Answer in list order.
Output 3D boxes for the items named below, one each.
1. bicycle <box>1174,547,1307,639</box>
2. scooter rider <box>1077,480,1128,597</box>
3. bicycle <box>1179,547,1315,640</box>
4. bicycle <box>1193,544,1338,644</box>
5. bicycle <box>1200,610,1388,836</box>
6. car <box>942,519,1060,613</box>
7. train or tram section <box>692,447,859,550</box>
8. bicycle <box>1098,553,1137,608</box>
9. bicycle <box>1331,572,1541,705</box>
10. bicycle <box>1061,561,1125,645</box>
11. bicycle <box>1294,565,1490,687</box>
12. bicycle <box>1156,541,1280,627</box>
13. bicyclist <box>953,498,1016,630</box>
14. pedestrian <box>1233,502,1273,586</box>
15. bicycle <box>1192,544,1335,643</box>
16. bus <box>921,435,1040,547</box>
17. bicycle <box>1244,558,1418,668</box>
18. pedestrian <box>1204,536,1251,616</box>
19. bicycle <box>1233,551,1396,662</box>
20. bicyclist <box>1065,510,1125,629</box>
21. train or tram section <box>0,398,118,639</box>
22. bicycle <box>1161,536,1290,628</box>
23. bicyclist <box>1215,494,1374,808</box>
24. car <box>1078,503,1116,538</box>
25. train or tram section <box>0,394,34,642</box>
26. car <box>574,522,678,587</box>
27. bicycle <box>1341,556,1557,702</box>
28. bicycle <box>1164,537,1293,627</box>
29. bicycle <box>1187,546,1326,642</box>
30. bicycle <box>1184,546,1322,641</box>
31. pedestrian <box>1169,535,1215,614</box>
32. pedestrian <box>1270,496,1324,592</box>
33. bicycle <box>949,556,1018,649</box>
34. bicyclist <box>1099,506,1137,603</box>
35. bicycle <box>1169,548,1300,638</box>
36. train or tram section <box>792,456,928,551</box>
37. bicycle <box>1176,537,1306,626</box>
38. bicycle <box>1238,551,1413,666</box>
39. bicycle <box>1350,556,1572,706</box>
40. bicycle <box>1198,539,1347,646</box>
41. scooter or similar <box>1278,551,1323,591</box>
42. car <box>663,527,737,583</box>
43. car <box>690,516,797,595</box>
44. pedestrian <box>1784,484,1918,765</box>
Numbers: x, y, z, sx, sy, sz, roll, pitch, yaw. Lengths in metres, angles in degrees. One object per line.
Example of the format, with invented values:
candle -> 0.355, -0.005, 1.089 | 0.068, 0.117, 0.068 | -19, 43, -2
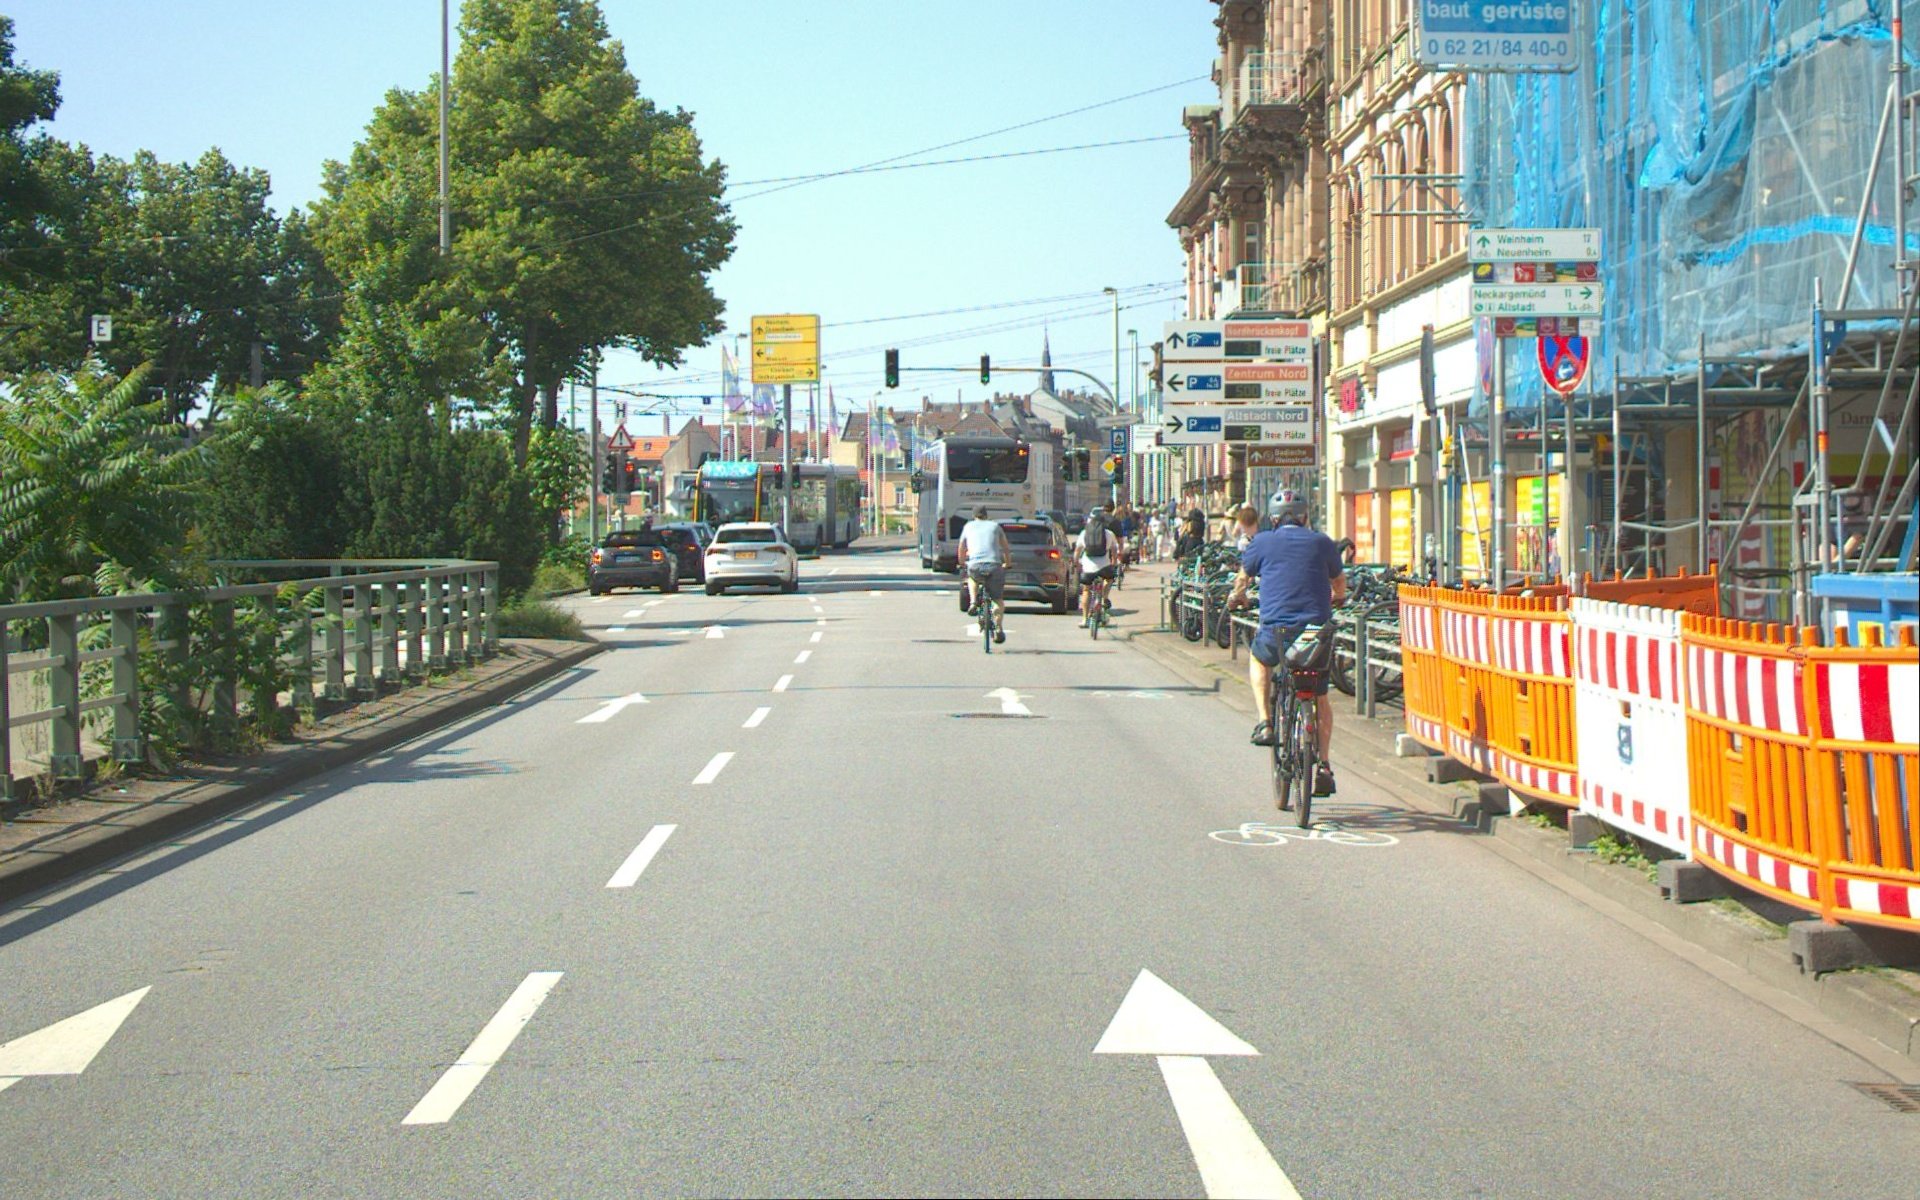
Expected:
bicycle -> 3.693, -0.097, 45.355 | 1.693, 1.174, 0.460 | 1, 1, 0
scooter rider -> 2.142, -0.923, 51.806 | 0.688, 1.723, 0.778 | 2, 1, 0
bicycle -> 3.695, -0.086, 44.272 | 1.693, 1.174, 0.514 | 1, 1, 0
bicycle -> 3.686, -0.073, 41.523 | 1.693, 1.174, 0.497 | 1, 1, 0
bicycle -> 1.760, 0.627, 18.386 | 0.734, 1.089, 1.911 | 2, 1, -2
car -> 0.678, -0.583, 57.957 | 1.873, 1.487, 4.000 | 2, 1, 0
train or tram section -> -6.810, -3.759, 128.993 | 2.825, 3.569, 10.023 | 2, 1, 18
bicycle -> 3.210, -0.401, 70.302 | 0.734, 1.089, 1.898 | 2, 1, 1
bicycle -> 4.049, 0.320, 29.332 | 1.693, 1.094, 0.608 | 1, 1, 0
bicycle -> 1.802, 0.025, 46.655 | 0.734, 1.089, 1.898 | 2, 1, -1
bicycle -> 4.028, 0.238, 32.142 | 1.739, 1.105, 0.608 | 1, 1, 0
bicycle -> 3.612, -0.225, 48.196 | 1.693, 1.174, 0.608 | -1, 2, 0
bicyclist -> 0.294, -0.440, 41.755 | 0.688, 1.571, 1.049 | 2, 1, -2
pedestrian -> 5.699, -1.089, 66.866 | 0.654, 1.615, 0.815 | -1, 2, -2
bicycle -> 3.705, -0.081, 42.067 | 1.693, 1.174, 0.491 | 1, 1, 0
bus -> 0.609, -2.852, 92.066 | 2.969, 2.767, 8.641 | 2, 1, 1
bicycle -> 3.759, 0.131, 34.903 | 1.693, 1.083, 0.608 | 1, 1, 0
pedestrian -> 5.497, -0.498, 70.749 | 0.862, 1.634, 0.876 | -1, 1, -2
bicycle -> 3.838, 0.064, 37.291 | 1.693, 1.174, 0.608 | 1, 1, 0
bicyclist -> 1.823, -0.415, 46.575 | 0.688, 1.571, 1.049 | 2, 1, -2
train or tram section -> -15.183, -1.282, 53.901 | 2.613, 3.569, 5.357 | 2, 1, -1
bicycle -> 3.662, -0.252, 47.563 | 1.693, 1.174, 0.608 | -2, 2, 0
bicyclist -> 1.772, 0.259, 18.316 | 0.688, 1.611, 0.918 | 2, 1, -2
car -> 7.570, -4.406, 190.056 | 1.993, 1.871, 4.000 | -1, 1, 2
train or tram section -> -15.117, -1.196, 48.179 | 2.613, 3.569, 6.104 | 2, 1, -1
car -> -7.221, -0.992, 74.688 | 1.815, 1.328, 4.000 | 2, 1, 0
bicycle -> 4.056, 0.237, 28.585 | 1.693, 1.174, 0.608 | 1, 1, 0
bicycle -> 3.655, -0.247, 46.908 | 1.693, 1.174, 0.608 | -1, 2, 0
bicycle -> 3.718, -0.083, 43.137 | 1.693, 1.174, 0.463 | 1, 1, 0
bicycle -> 3.717, -0.083, 43.676 | 1.693, 1.174, 0.457 | 1, 1, 0
pedestrian -> 4.890, -0.540, 72.436 | 0.862, 1.634, 0.876 | -1, 1, -2
pedestrian -> 6.017, -0.997, 61.389 | 0.755, 1.650, 0.837 | -4, 0, -1
bicycle -> 0.273, 0.017, 41.801 | 0.734, 1.089, 1.898 | 2, 1, -2
bicyclist -> 3.236, -0.928, 70.303 | 0.688, 1.955, 0.778 | 2, 1, 0
bicycle -> 3.665, -0.094, 45.905 | 1.693, 1.174, 0.470 | 1, 1, 0
train or tram section -> -3.946, -3.807, 137.750 | 2.825, 3.569, 8.219 | 2, 1, 18
bicycle -> 3.780, -0.254, 46.311 | 1.693, 1.174, 0.470 | 1, 1, 0
bicycle -> 3.853, 0.084, 36.297 | 1.771, 1.174, 0.608 | 1, 1, 0
bicycle -> 4.054, 0.246, 27.902 | 1.693, 1.174, 0.608 | 1, 1, 0
bicycle -> 3.707, -0.093, 40.832 | 1.693, 1.236, 0.608 | 1, 1, 0
scooter or similar -> 6.018, -0.511, 60.822 | 0.691, 0.648, 0.565 | -4, 1, -1
car -> -6.322, -1.091, 83.958 | 1.451, 1.296, 4.000 | 2, 1, 0
car -> -4.391, -0.915, 70.137 | 1.858, 1.502, 4.000 | 2, 1, 0
pedestrian -> 5.757, 0.152, 22.246 | 0.639, 1.770, 0.649 | 2, 1, -1
